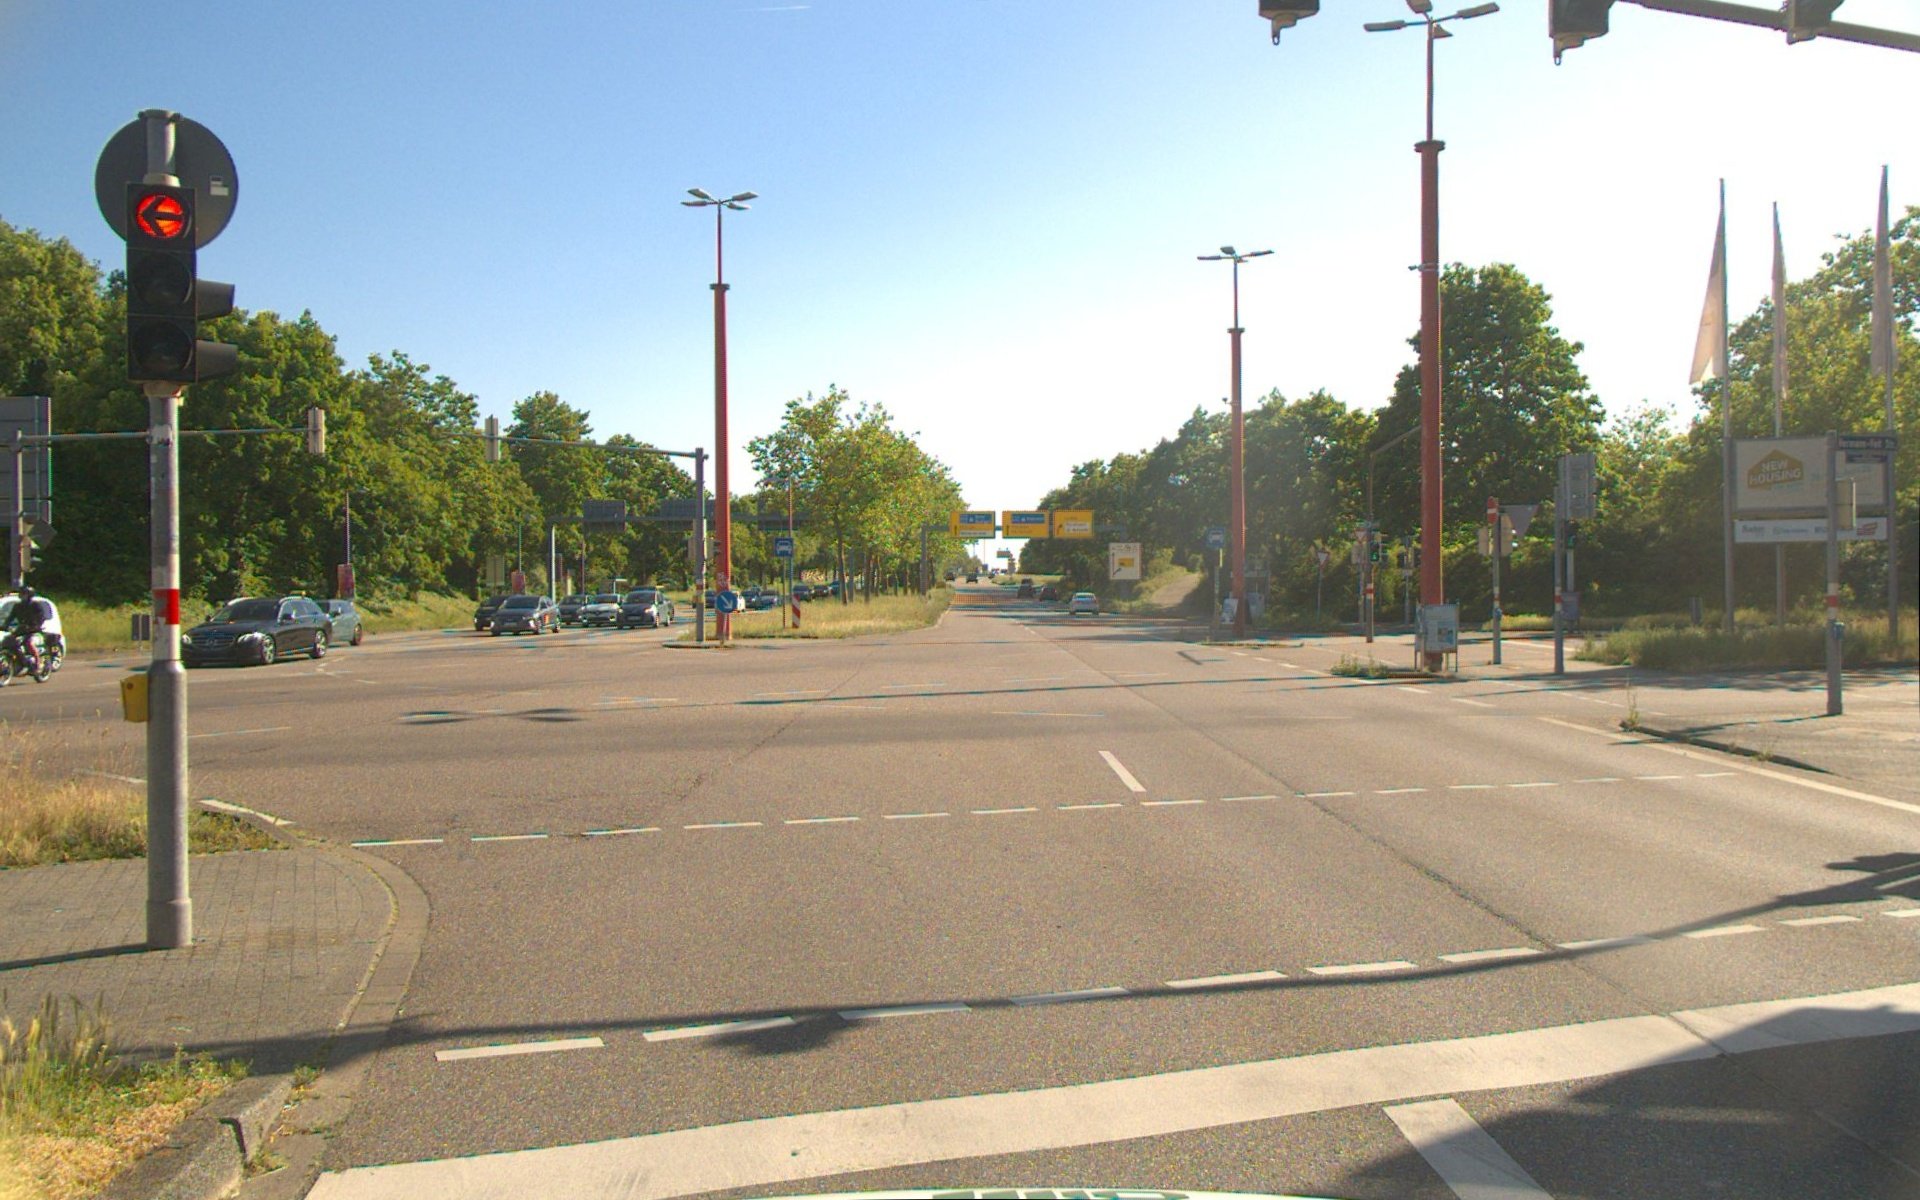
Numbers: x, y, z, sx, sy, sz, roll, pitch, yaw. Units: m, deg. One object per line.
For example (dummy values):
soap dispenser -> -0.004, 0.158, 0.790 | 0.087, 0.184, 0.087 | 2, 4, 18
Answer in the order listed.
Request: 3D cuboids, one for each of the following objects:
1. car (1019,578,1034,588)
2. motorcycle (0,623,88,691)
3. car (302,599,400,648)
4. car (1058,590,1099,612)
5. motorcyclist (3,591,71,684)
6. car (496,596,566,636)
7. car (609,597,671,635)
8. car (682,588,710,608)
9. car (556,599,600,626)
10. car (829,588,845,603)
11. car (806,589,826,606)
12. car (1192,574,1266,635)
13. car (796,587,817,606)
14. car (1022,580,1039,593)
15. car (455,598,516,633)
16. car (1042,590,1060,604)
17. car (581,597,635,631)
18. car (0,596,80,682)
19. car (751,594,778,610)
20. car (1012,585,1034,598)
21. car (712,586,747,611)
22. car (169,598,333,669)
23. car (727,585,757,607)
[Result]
car -> 10.523, -2.652, 261.997 | 1.951, 1.567, 4.003 | 0, 0, 8
motorcycle -> -16.432, 0.990, 29.502 | 0.412, 1.151, 2.097 | 1, 0, 7
car -> -18.626, 0.699, 50.759 | 1.400, 1.412, 4.140 | 1, 0, 1
car -> 7.790, 0.054, 108.877 | 2.014, 1.395, 4.387 | 0, 0, -5
motorcyclist -> -16.411, 0.665, 29.428 | 0.817, 1.627, 0.641 | 1, 0, 7
car -> -16.103, 0.580, 62.251 | 1.516, 1.401, 4.262 | 0, 0, 0
car -> -13.021, 0.635, 67.568 | 1.666, 1.446, 4.000 | 3, 0, 0
car -> -20.507, -0.145, 128.731 | 1.595, 1.476, 3.434 | 1, 0, 0
car -> -19.034, 0.633, 82.466 | 1.424, 1.296, 3.612 | 1, 0, -1
car -> -14.706, -0.533, 197.808 | 1.574, 1.761, 3.789 | 1, 0, 1
car -> -15.439, -0.227, 177.409 | 1.622, 1.778, 4.001 | 1, 0, 1
car -> 8.877, 0.135, 54.364 | 1.951, 1.920, 4.003 | 0, 0, 16
car -> -14.795, -0.337, 159.343 | 1.592, 1.769, 4.000 | 0, 0, 1
car -> 9.079, -1.745, 212.779 | 1.952, 1.567, 4.000 | 1, 0, 0
car -> -21.017, 0.677, 73.425 | 1.512, 1.458, 3.886 | -2, 0, 0
car -> 9.044, -0.289, 164.308 | 1.702, 1.365, 3.081 | 0, 0, 0
car -> -16.055, 0.613, 75.530 | 1.572, 1.485, 3.950 | 0, 0, 1
car -> -20.092, 0.799, 34.009 | 1.763, 1.737, 4.060 | -1, 0, 0
car -> -16.020, 0.154, 135.701 | 1.963, 1.330, 3.998 | 0, 0, -3
car -> 7.145, -0.958, 188.060 | 1.955, 1.523, 3.995 | 0, 0, -6
car -> -15.674, -0.087, 112.580 | 1.669, 1.624, 4.001 | 1, 0, 1
car -> -16.147, 0.720, 37.917 | 1.838, 1.511, 4.604 | 1, 0, -1
car -> -16.336, -0.265, 124.062 | 1.669, 1.586, 3.804 | 1, 0, 1
